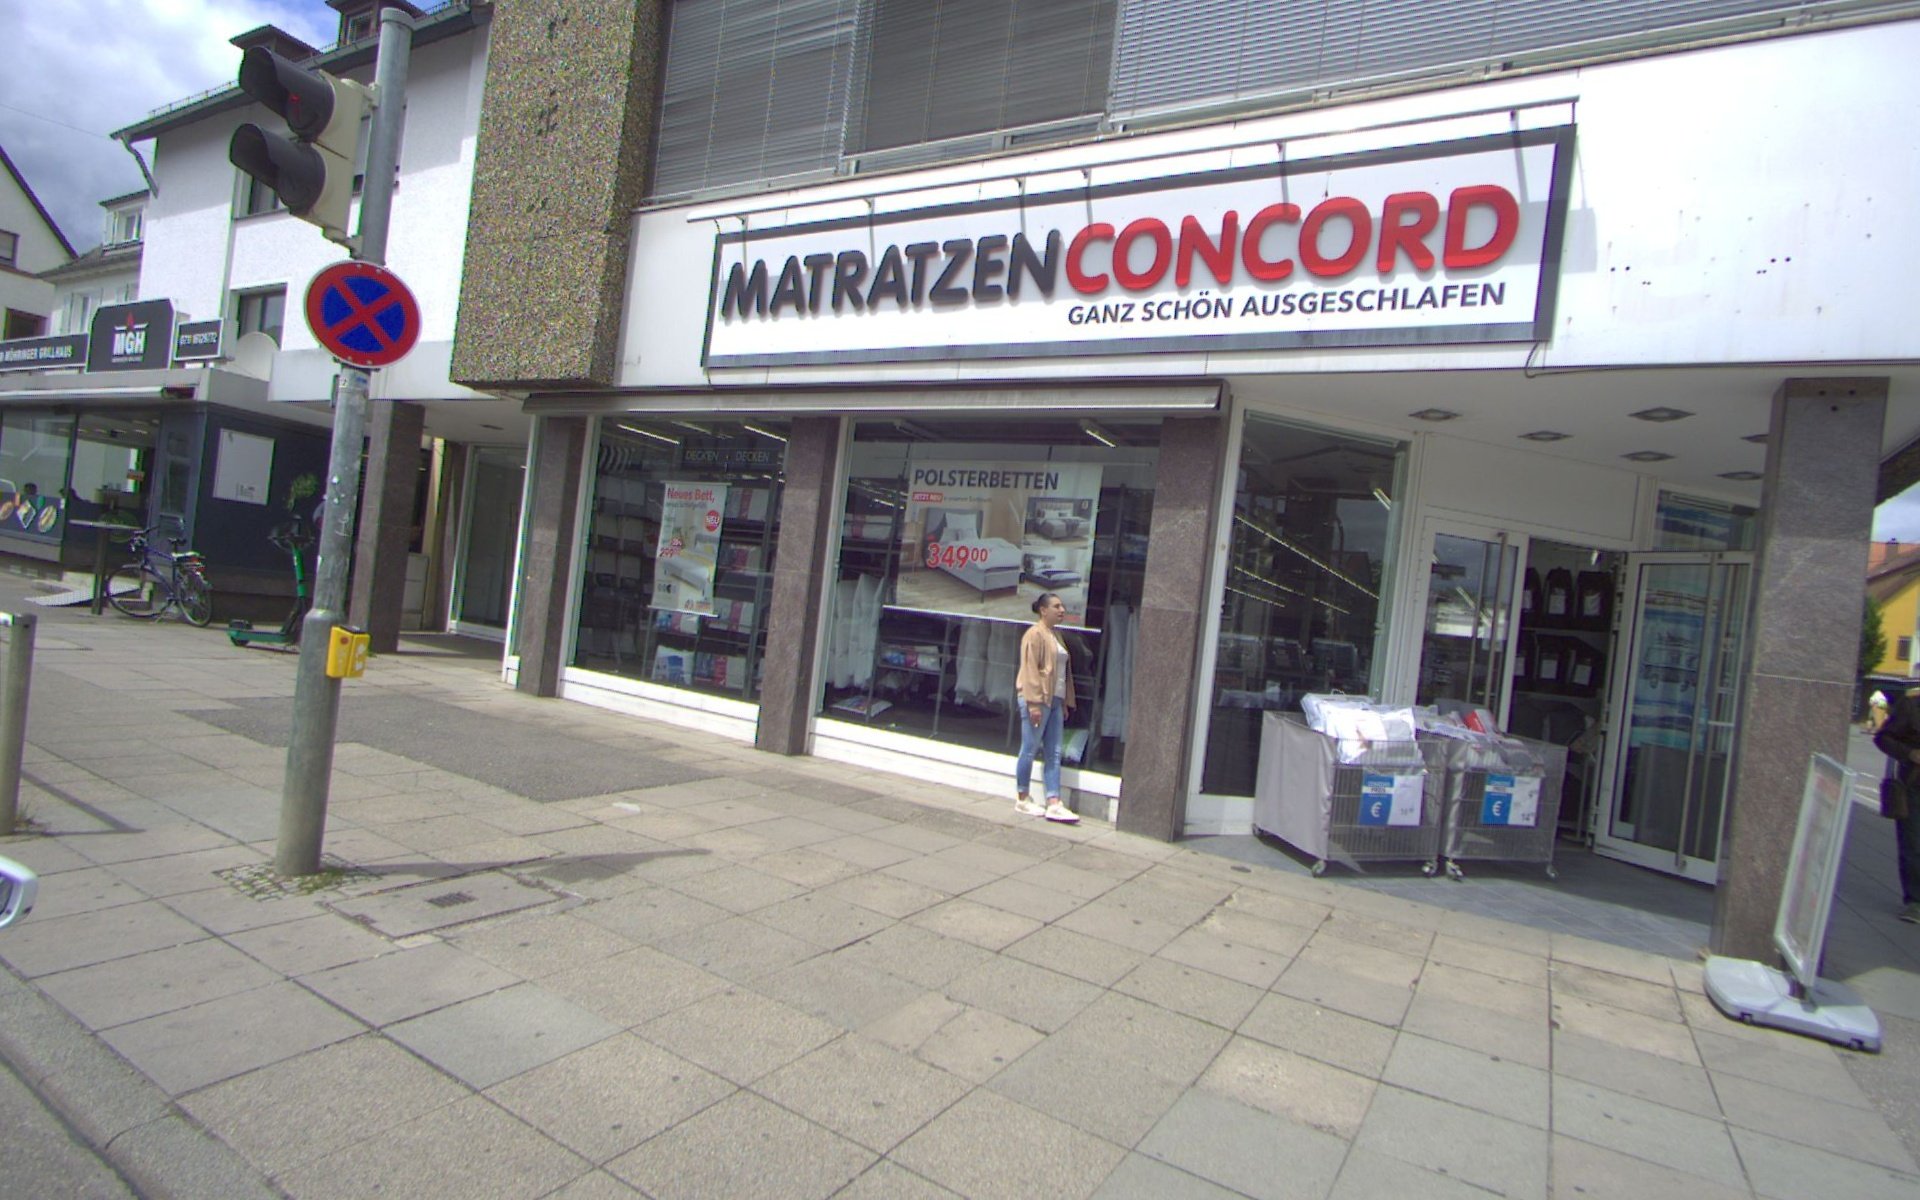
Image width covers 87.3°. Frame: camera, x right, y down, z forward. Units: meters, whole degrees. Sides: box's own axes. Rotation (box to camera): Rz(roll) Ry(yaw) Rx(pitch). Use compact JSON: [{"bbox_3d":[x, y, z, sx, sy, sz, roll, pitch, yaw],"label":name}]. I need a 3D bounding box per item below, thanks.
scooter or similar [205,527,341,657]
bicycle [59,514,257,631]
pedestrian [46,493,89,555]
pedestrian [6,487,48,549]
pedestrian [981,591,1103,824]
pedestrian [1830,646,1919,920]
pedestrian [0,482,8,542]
[{"bbox_3d":[-7.437,-0.085,10.900,1.222,1.270,0.341,6,2,5],"label":"scooter or similar"},{"bbox_3d":[-9.881,-0.335,12.389,2.256,1.159,0.556,7,1,13],"label":"bicycle"},{"bbox_3d":[-16.206,-1.376,18.264,0.361,1.065,0.415,7,1,29],"label":"pedestrian"},{"bbox_3d":[-17.325,-1.524,18.677,0.361,1.065,0.415,7,1,29],"label":"pedestrian"},{"bbox_3d":[0.556,0.705,6.838,0.493,1.479,0.502,7,4,44],"label":"pedestrian"},{"bbox_3d":[6.505,1.224,6.733,0.608,1.729,0.579,6,3,-1],"label":"pedestrian"},{"bbox_3d":[-17.313,-1.598,17.871,0.361,1.065,0.415,7,1,29],"label":"pedestrian"}]
